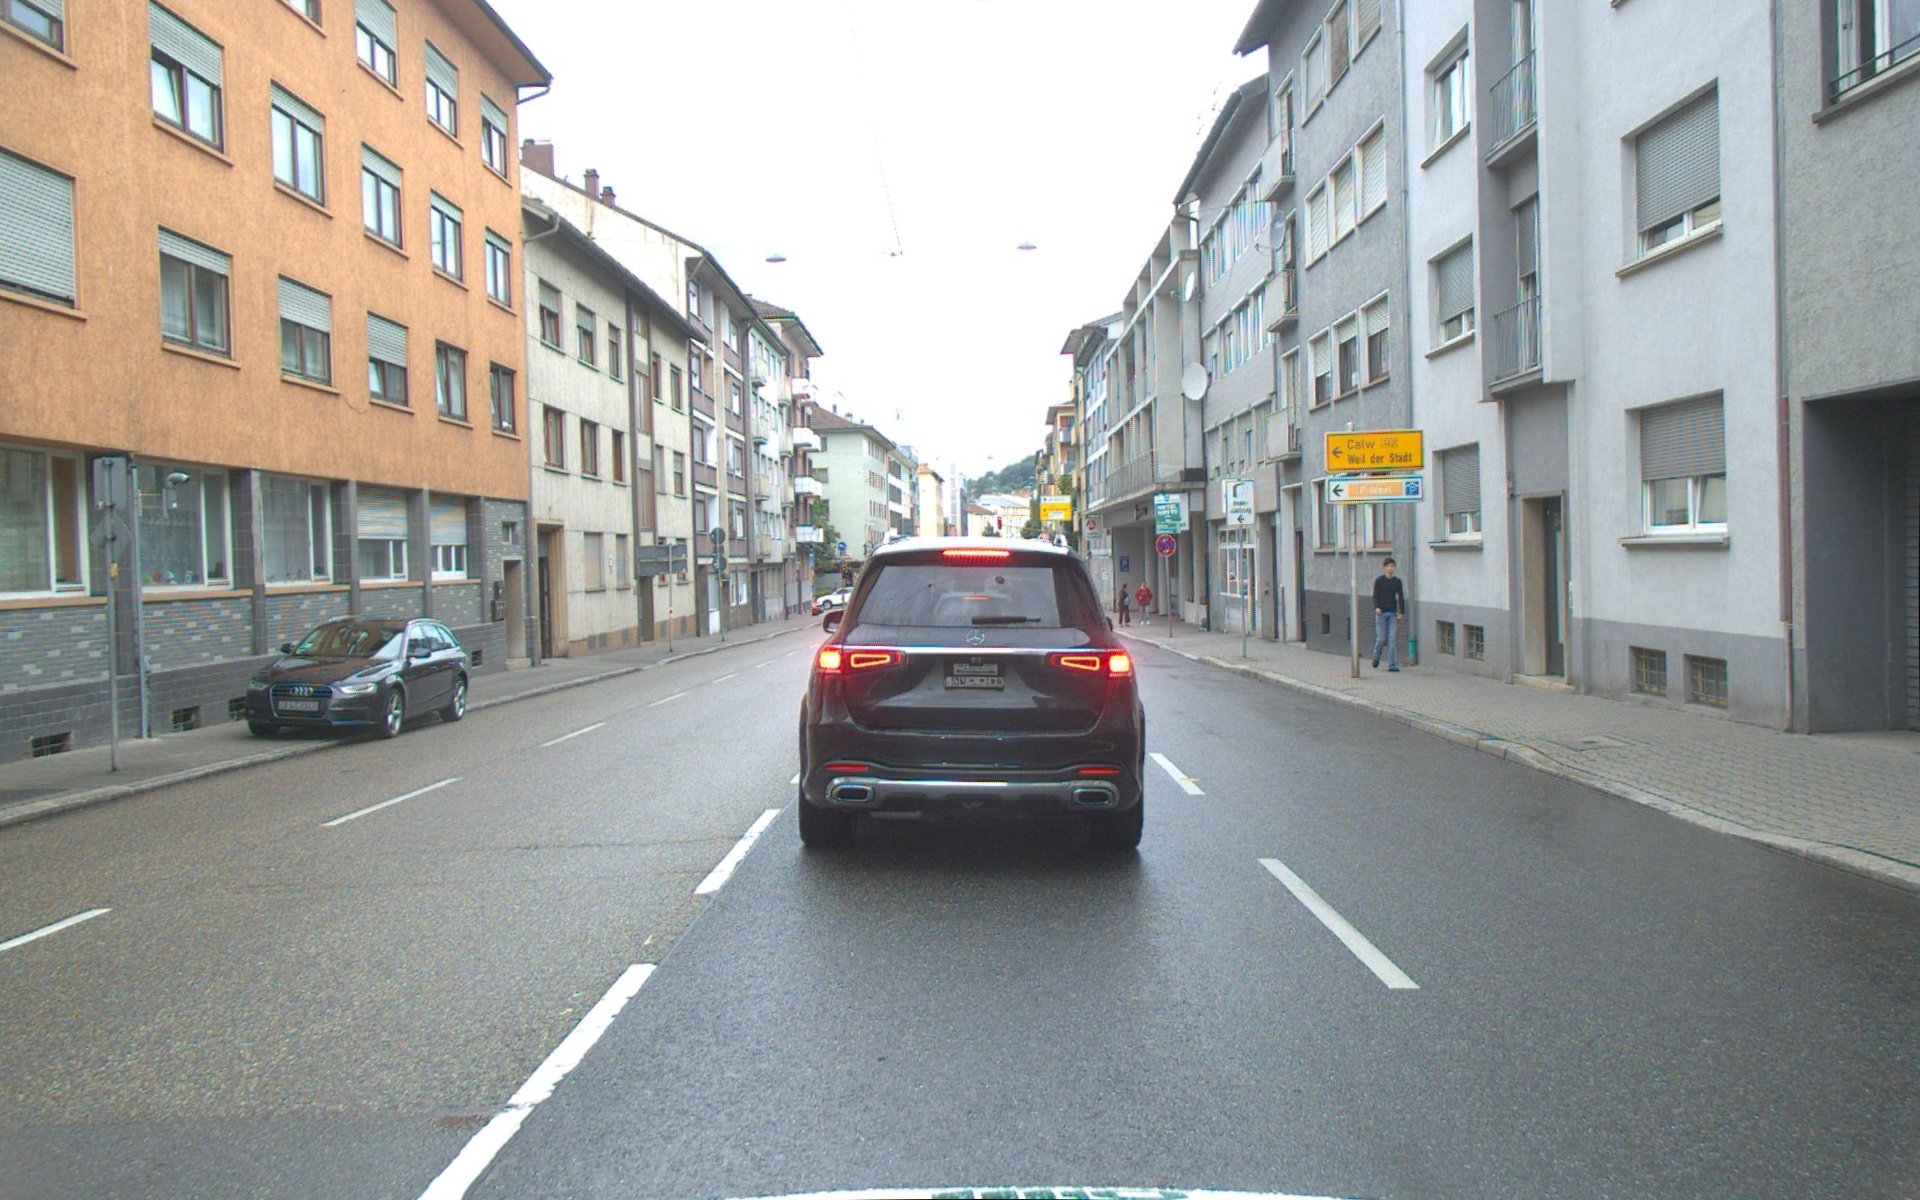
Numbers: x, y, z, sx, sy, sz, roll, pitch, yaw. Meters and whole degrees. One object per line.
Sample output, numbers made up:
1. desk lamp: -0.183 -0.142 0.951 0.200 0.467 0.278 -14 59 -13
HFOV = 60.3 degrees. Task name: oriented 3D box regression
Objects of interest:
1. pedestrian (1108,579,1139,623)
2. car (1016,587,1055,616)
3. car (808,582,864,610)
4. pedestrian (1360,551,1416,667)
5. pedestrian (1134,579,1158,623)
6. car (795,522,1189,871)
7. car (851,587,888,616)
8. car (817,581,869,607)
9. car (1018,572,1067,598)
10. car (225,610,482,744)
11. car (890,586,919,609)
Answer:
1. pedestrian: 5.999 0.039 60.758 0.809 1.592 0.893 -1 1 -22
2. car: 3.887 0.079 85.690 1.699 1.412 4.582 0 1 -1
3. car: -9.140 -0.300 121.941 3.903 2.049 2.001 0 1 3
4. pedestrian: 6.779 0.137 26.239 0.642 1.782 0.742 -4 0 5
5. pedestrian: 6.823 0.036 60.691 0.803 1.592 0.900 0 1 3
6. car: 0.135 0.450 10.875 2.034 1.796 4.610 0 1 -1
7. car: -4.963 0.048 91.140 1.853 1.484 4.548 0 1 -2
8. car: -9.401 -0.487 132.980 3.903 2.049 2.001 0 1 3
9. car: 6.632 -1.236 133.244 3.903 2.049 2.001 0 1 3
10. car: -7.929 0.938 22.115 1.853 1.484 4.548 0 1 -2
11. car: -3.704 -0.202 111.409 1.853 1.484 4.549 0 1 -1
